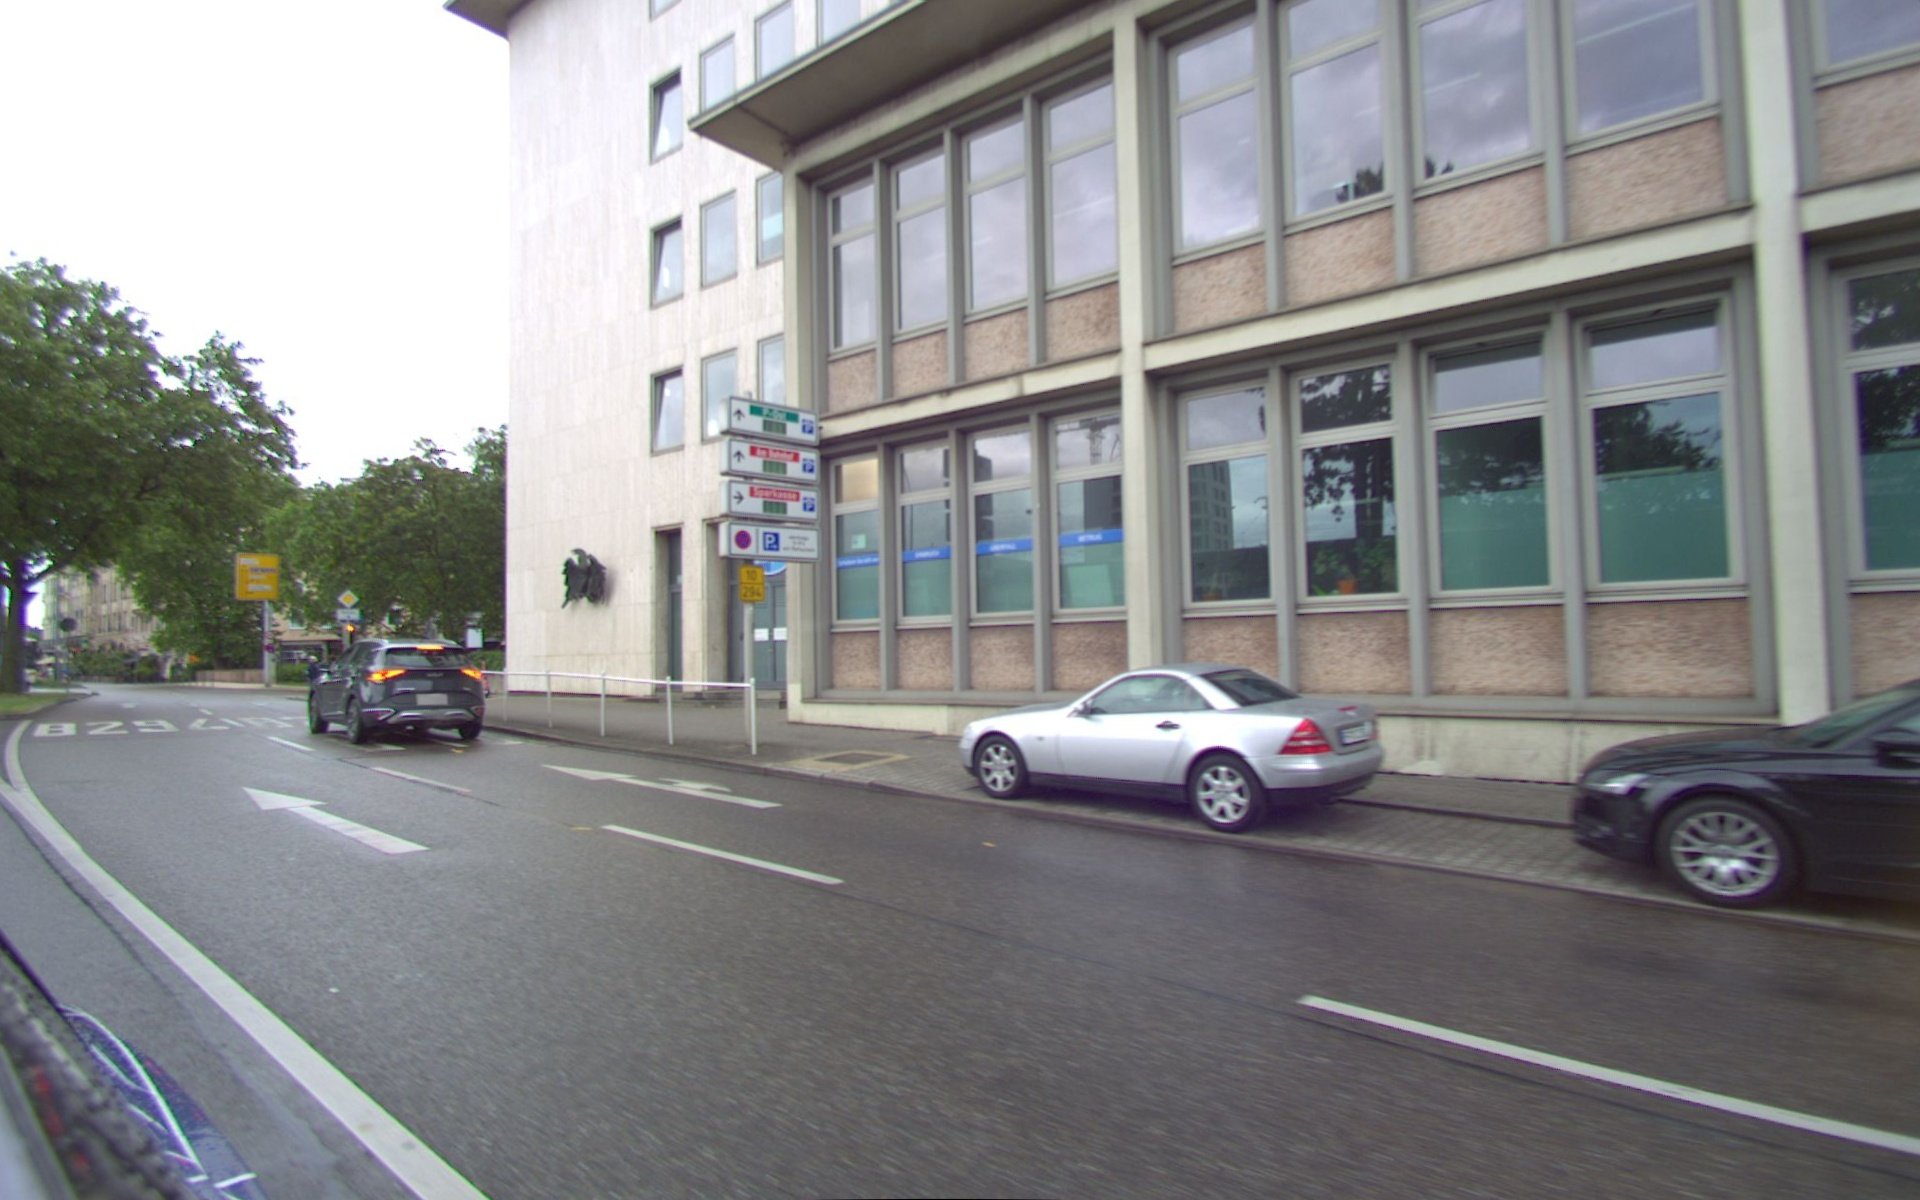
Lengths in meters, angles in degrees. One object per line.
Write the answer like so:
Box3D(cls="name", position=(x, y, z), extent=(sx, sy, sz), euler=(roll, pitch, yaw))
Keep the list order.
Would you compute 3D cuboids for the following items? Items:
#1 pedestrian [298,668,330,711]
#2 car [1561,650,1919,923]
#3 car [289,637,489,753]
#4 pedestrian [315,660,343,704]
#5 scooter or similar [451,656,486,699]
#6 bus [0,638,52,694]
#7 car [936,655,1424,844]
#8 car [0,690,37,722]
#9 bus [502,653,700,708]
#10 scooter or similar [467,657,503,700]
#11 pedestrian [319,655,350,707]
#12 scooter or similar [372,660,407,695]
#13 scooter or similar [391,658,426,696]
Box3D(cls="pedestrian", position=(-25.071, 3.460, 39.272), extent=(0.921, 1.615, 0.648), euler=(-3, -5, 31))
Box3D(cls="car", position=(5.758, 0.962, 5.417), extent=(4.110, 1.364, 1.526), euler=(-3, -3, 43))
Box3D(cls="car", position=(-9.594, 1.510, 16.852), extent=(1.800, 1.673, 4.340), euler=(3, -5, -45))
Box3D(cls="pedestrian", position=(-25.181, 3.259, 40.403), extent=(0.795, 1.723, 0.647), euler=(-3, -5, 34))
Box3D(cls="scooter or similar", position=(-14.191, 2.220, 29.248), extent=(0.599, 1.201, 1.532), euler=(0, -4, -14))
Box3D(cls="bus", position=(-63.652, 4.442, 67.581), extent=(12.552, 3.466, 2.924), euler=(-4, -5, 41))
Box3D(cls="car", position=(1.825, 1.182, 9.288), extent=(4.093, 1.307, 1.672), euler=(-3, -3, 43))
Box3D(cls="car", position=(-46.378, 5.055, 48.376), extent=(4.391, 1.420, 1.805), euler=(-2, -4, 27))
Box3D(cls="bus", position=(-23.294, 5.310, 66.090), extent=(11.766, 3.042, 2.898), euler=(5, -6, -26))
Box3D(cls="scooter or similar", position=(-13.269, 2.189, 28.294), extent=(0.599, 1.173, 1.532), euler=(0, -4, -14))
Box3D(cls="pedestrian", position=(-25.531, 3.291, 41.306), extent=(0.923, 2.061, 0.874), euler=(3, -5, -41))
Box3D(cls="scooter or similar", position=(-19.159, 2.598, 33.974), extent=(1.500, 1.176, 0.483), euler=(-4, -5, 39))
Box3D(cls="scooter or similar", position=(-17.909, 2.493, 32.857), extent=(0.563, 1.201, 1.575), euler=(3, -5, -44))
